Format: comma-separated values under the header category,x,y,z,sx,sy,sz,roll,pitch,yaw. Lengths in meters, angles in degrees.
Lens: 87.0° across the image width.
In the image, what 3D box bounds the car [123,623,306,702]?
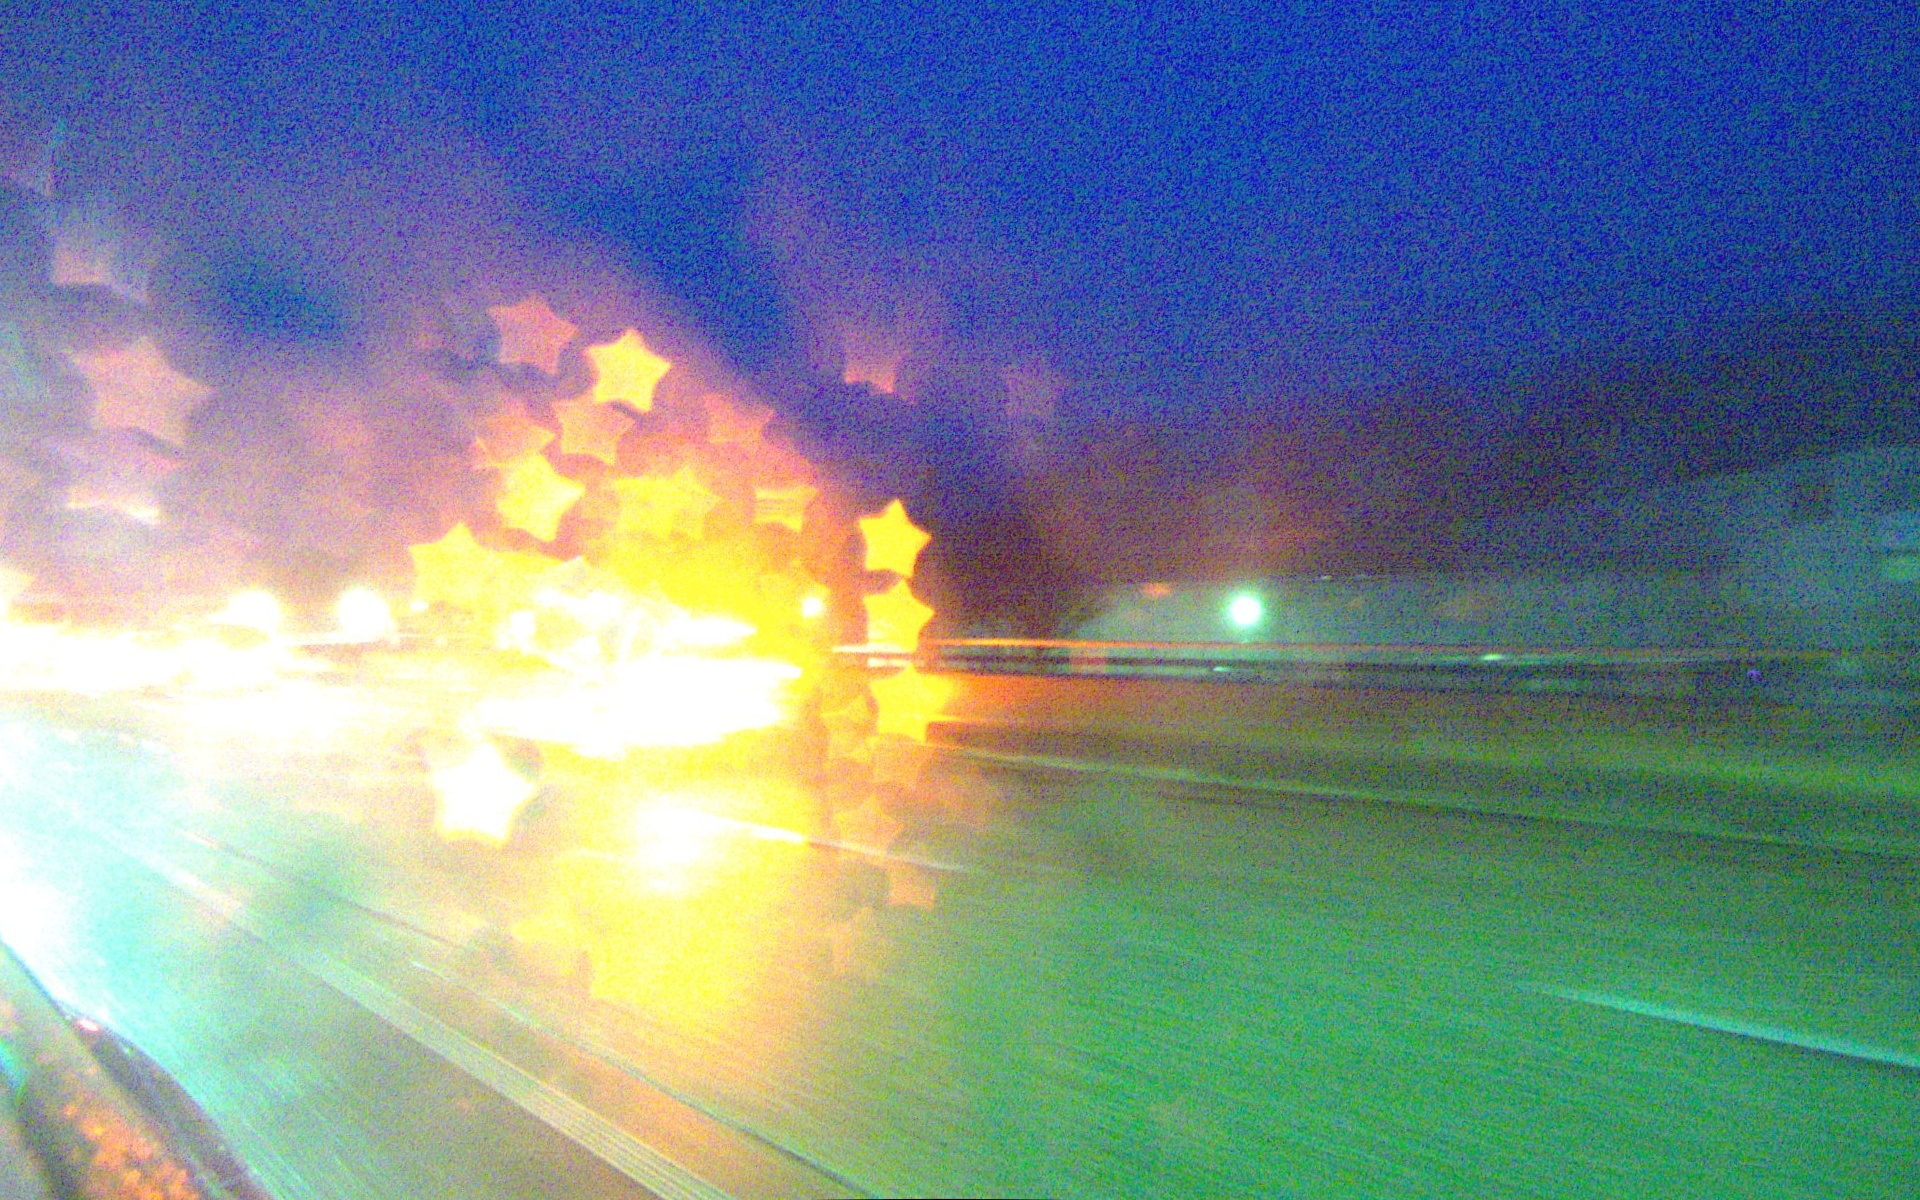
category,x,y,z,sx,sy,sz,roll,pitch,yaw
car,-16.096,1.269,21.752,4.988,1.460,2.056,-2,-1,40

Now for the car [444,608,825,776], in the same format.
category,x,y,z,sx,sy,sz,roll,pitch,yaw
car,-3.719,0.862,11.110,4.543,1.455,1.898,-2,-1,41

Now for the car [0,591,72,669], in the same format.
category,x,y,z,sx,sy,sz,roll,pitch,yaw
car,-35.309,1.118,37.984,6.236,2.728,2.101,-2,-1,40

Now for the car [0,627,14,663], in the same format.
category,x,y,z,sx,sy,sz,roll,pitch,yaw
car,-45.642,2.110,47.249,4.309,1.600,1.702,-2,-1,41

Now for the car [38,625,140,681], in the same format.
category,x,y,z,sx,sy,sz,roll,pitch,yaw
car,-26.686,1.582,30.964,3.986,1.548,1.859,-2,-1,42
